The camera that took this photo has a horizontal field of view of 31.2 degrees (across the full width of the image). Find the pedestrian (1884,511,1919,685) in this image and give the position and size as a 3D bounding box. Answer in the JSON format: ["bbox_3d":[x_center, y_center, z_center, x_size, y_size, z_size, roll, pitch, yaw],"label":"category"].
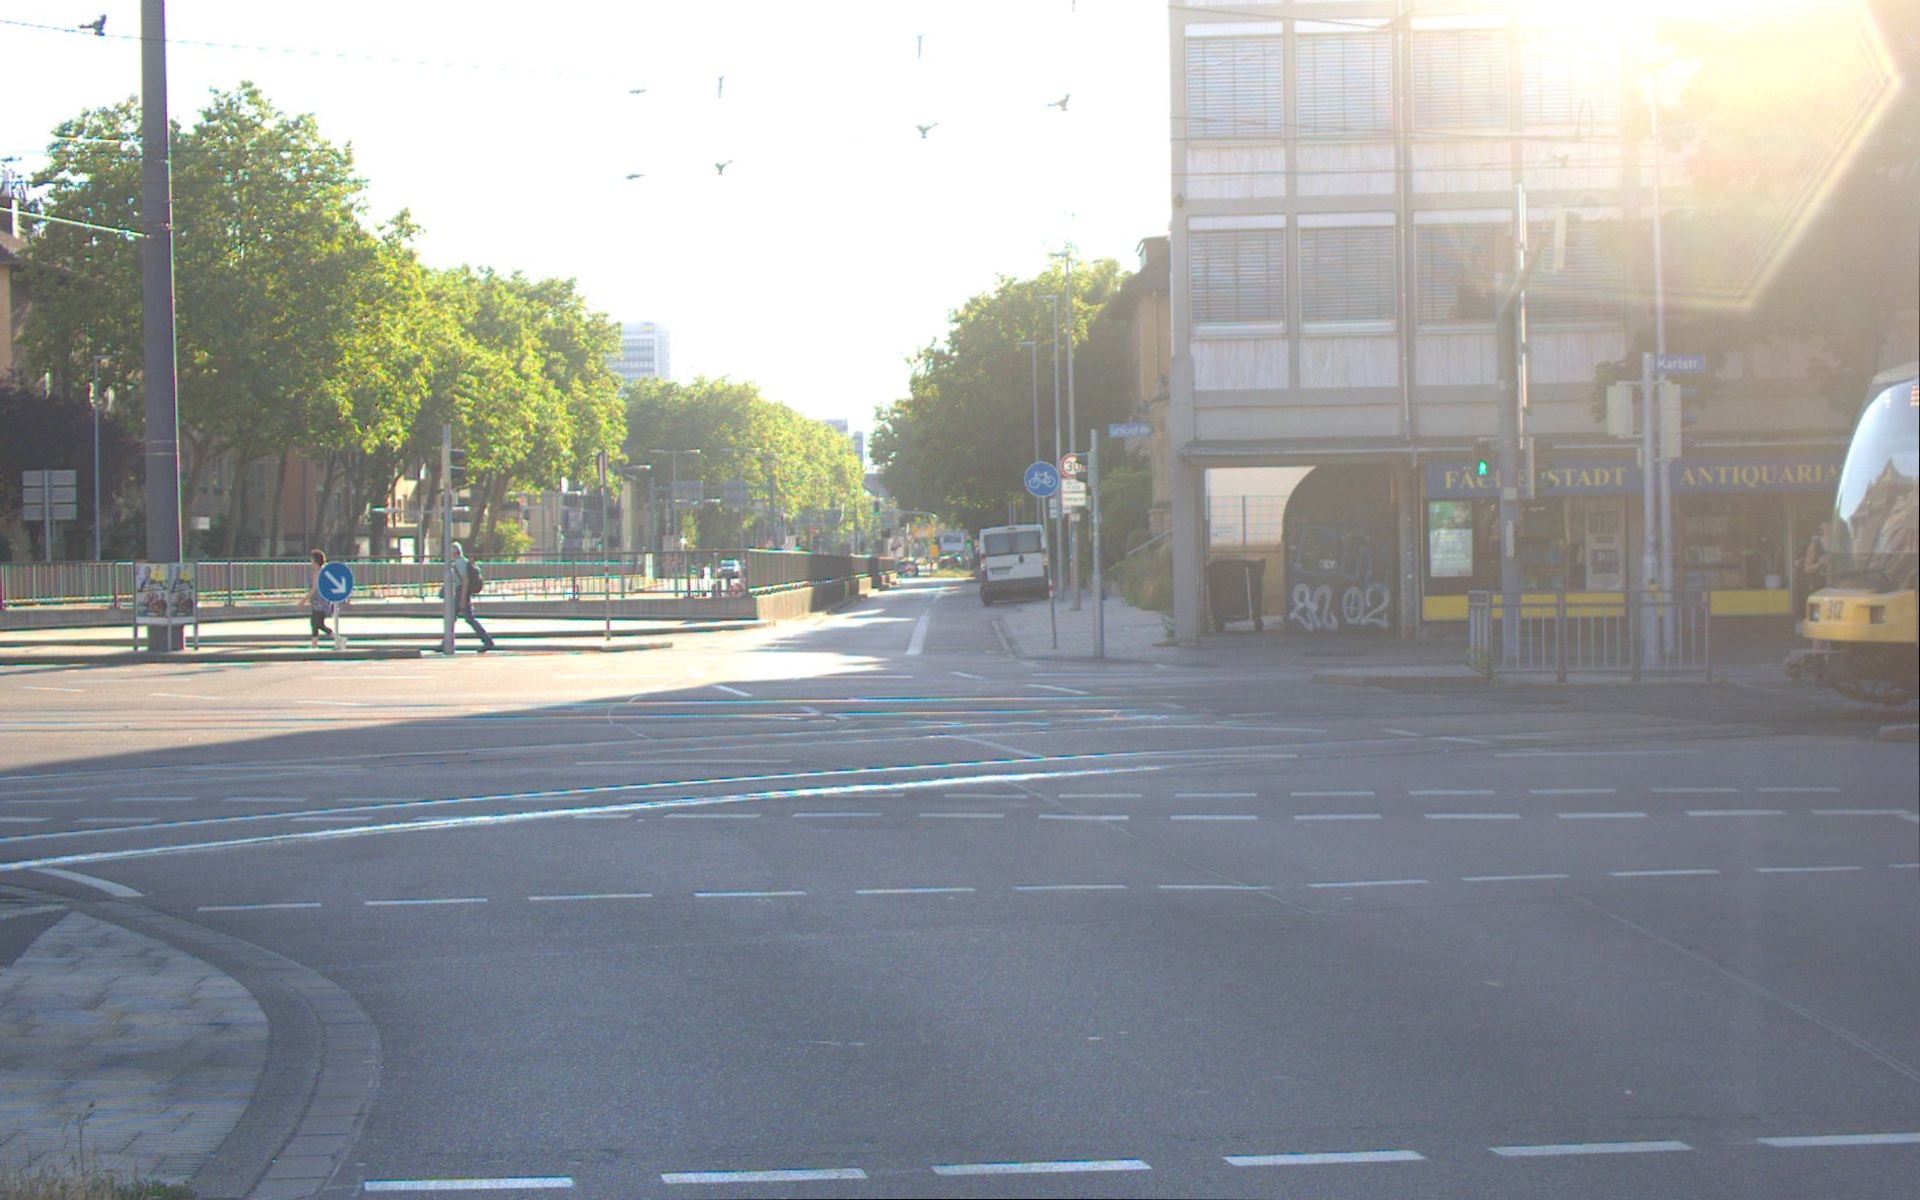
[{"bbox_3d":[10.070,-0.020,35.861,0.695,1.787,1.042,1,0,8],"label":"pedestrian"}]

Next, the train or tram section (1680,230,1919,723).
[{"bbox_3d":[13.255,-1.063,29.662,13.313,3.820,3.717,-1,0,-10],"label":"train or tram section"}]

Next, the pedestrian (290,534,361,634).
[{"bbox_3d":[-9.638,-0.231,52.211,0.853,1.460,0.686,1,-5,-29],"label":"pedestrian"}]

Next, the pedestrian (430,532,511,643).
[{"bbox_3d":[-7.705,-0.202,54.126,1.194,1.725,0.856,1,0,-5],"label":"pedestrian"}]

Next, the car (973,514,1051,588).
[{"bbox_3d":[1.596,-1.463,103.910,2.286,2.165,4.833,1,1,1],"label":"car"}]

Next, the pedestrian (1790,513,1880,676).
[{"bbox_3d":[9.177,-0.067,36.081,0.695,1.676,1.042,1,0,3],"label":"pedestrian"}]
